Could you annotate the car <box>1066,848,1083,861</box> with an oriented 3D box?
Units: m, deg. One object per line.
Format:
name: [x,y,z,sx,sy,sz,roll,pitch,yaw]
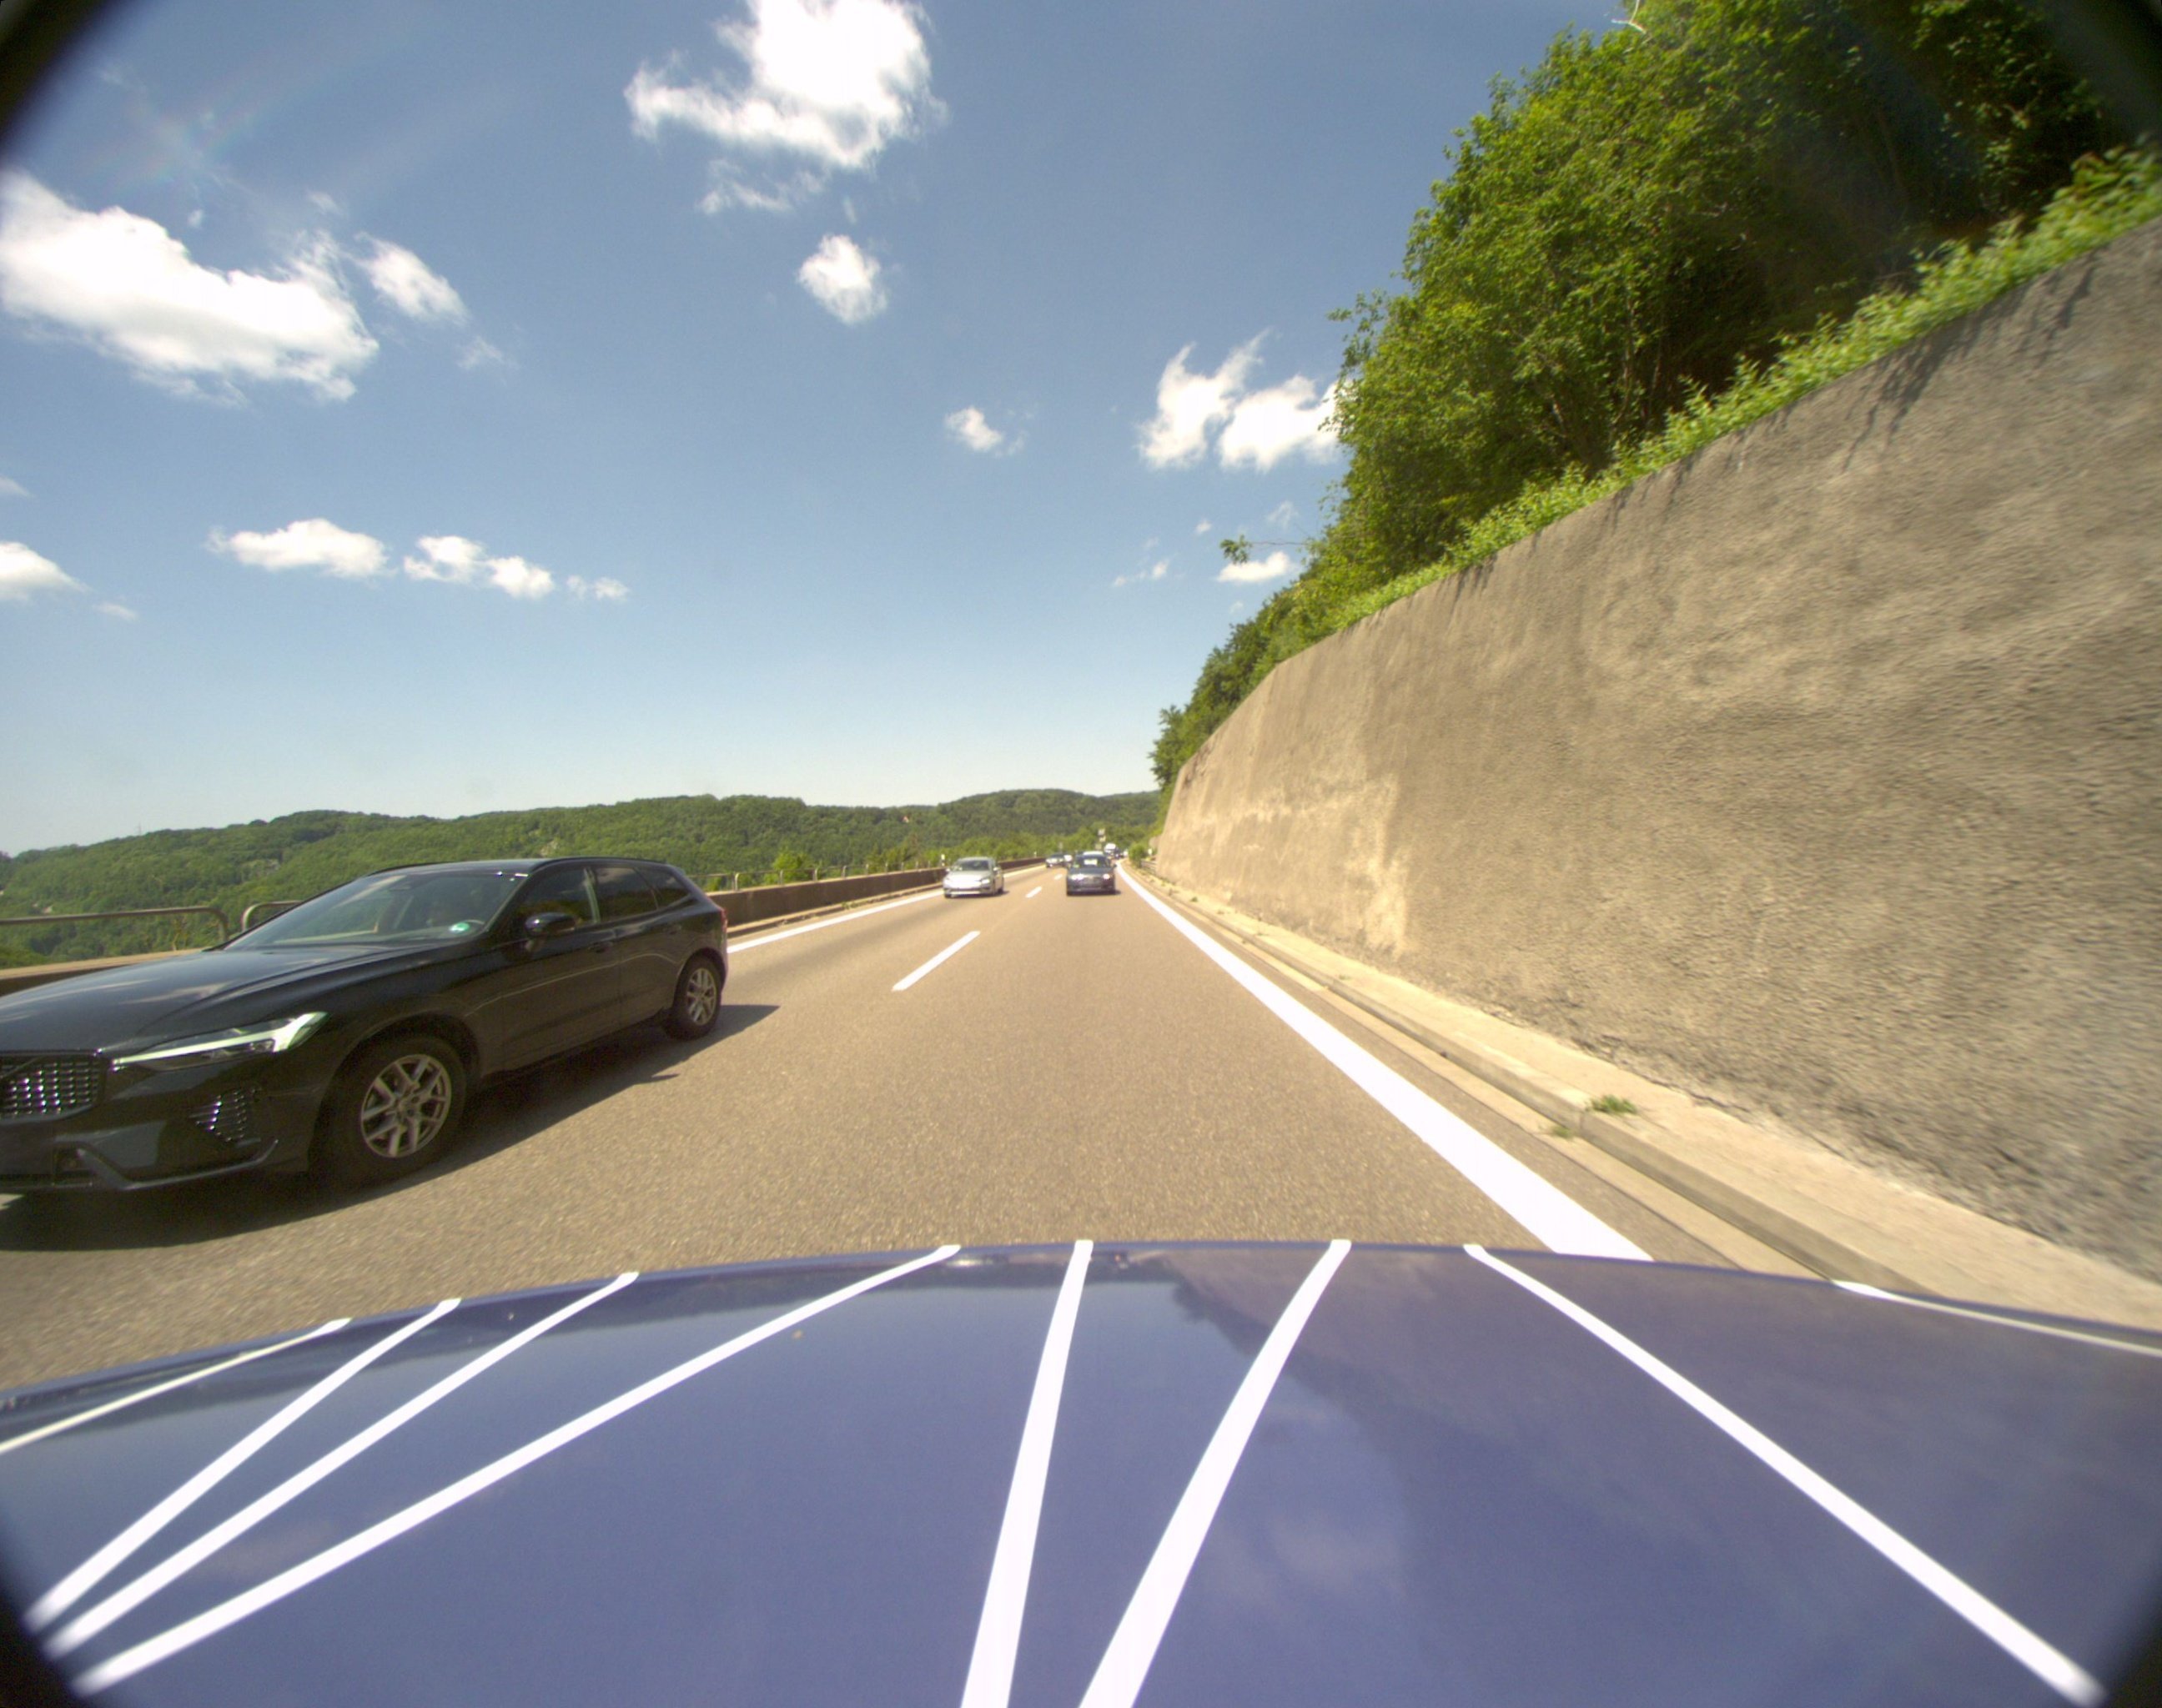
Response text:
car: [-0.794,-0.003,96.899,1.775,1.565,4.001,-2,1,4]

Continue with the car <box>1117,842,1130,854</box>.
car: [7.519,-1.116,134.982,1.998,2.002,4.001,-2,1,6]

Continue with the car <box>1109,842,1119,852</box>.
car: [7.197,-1.520,165.274,1.997,2.002,4.002,0,0,6]

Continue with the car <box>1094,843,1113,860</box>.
car: [2.725,-0.306,91.331,1.998,2.002,4.001,-1,1,5]

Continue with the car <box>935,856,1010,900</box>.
car: [-3.953,0.842,28.435,1.972,1.370,4.293,-2,1,3]

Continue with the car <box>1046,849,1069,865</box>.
car: [-2.293,0.277,76.048,1.875,1.565,4.001,-1,1,4]

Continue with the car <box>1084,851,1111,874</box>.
car: [1.165,0.539,51.498,1.703,1.432,4.044,0,1,3]

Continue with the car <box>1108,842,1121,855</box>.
car: [5.442,-0.841,123.848,1.998,2.002,4.001,-2,1,4]

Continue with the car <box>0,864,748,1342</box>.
car: [-4.271,0.986,5.141,1.839,1.624,4.661,-3,1,1]

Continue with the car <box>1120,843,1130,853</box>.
car: [9.172,-1.314,158.915,1.998,2.002,4.001,-2,1,5]

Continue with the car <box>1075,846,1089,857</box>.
car: [0.127,-0.373,114.439,1.775,1.565,4.001,-2,1,4]

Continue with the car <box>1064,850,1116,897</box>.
car: [0.385,0.640,27.266,1.668,1.415,4.044,-1,1,3]
